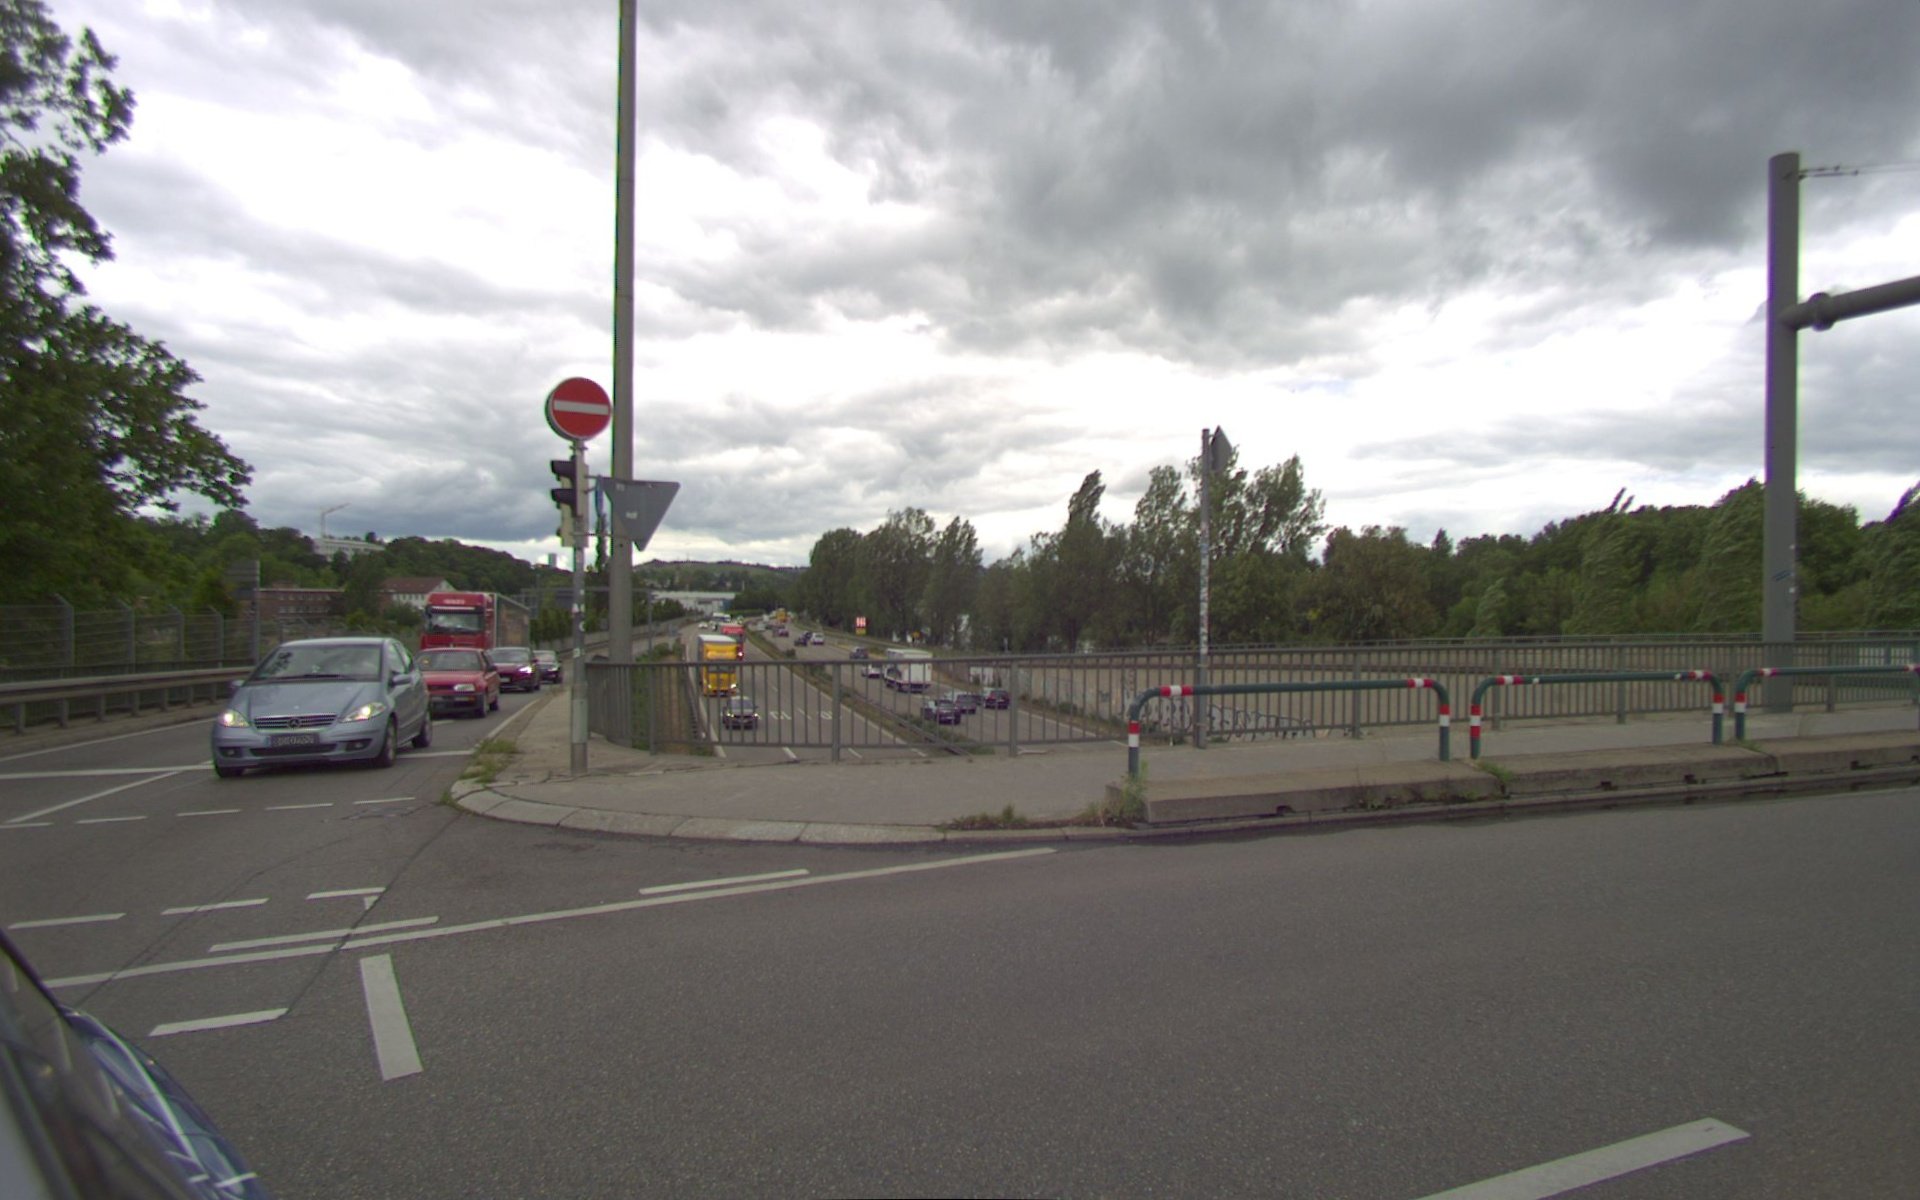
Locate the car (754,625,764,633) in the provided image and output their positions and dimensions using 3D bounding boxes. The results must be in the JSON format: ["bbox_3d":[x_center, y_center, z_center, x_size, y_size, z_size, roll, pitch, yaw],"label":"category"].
[{"bbox_3d":[-46.821,6.718,235.869,1.966,1.730,3.649,2,-2,-14],"label":"car"}]

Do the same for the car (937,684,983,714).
[{"bbox_3d":[-0.046,7.027,72.126,2.102,1.730,4.438,2,0,-17],"label":"car"}]

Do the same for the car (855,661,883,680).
[{"bbox_3d":[-9.089,6.928,100.335,1.966,1.630,4.341,2,-2,-15],"label":"car"}]

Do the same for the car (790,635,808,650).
[{"bbox_3d":[-25.432,6.636,159.725,2.188,2.028,4.655,2,1,-15],"label":"car"}]

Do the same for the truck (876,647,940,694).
[{"bbox_3d":[-4.602,5.975,87.395,3.534,3.482,8.264,3,-1,-16],"label":"truck"}]

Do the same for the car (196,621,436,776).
[{"bbox_3d":[-7.916,1.129,12.822,1.718,1.616,3.693,0,-2,-18],"label":"car"}]

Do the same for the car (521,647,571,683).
[{"bbox_3d":[-18.314,2.851,44.903,1.668,1.431,4.481,0,-2,-17],"label":"car"}]

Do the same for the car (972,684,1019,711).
[{"bbox_3d":[2.613,7.275,75.826,2.102,1.577,4.438,2,0,-17],"label":"car"}]

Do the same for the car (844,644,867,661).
[{"bbox_3d":[-13.193,6.563,127.331,1.965,1.630,4.344,2,2,-19],"label":"car"}]

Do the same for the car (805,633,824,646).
[{"bbox_3d":[-24.035,6.510,167.366,2.555,2.029,4.654,2,-1,-15],"label":"car"}]

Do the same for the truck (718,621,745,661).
[{"bbox_3d":[-28.048,4.911,123.822,2.842,4.389,13.295,1,0,-14],"label":"truck"}]

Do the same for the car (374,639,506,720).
[{"bbox_3d":[-10.666,1.579,21.023,1.718,1.474,3.966,0,-2,-16],"label":"car"}]

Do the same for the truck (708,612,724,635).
[{"bbox_3d":[-56.234,5.299,233.076,3.322,4.991,13.976,0,0,-14],"label":"truck"}]

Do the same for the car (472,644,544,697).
[{"bbox_3d":[-15.024,2.294,33.843,1.668,1.431,4.481,0,0,-17],"label":"car"}]

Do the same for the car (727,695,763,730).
[{"bbox_3d":[-12.789,6.634,59.953,1.848,1.711,3.851,1,-1,-15],"label":"car"}]

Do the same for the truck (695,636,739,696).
[{"bbox_3d":[-19.576,5.144,81.037,2.853,4.215,10.054,3,-1,-16],"label":"truck"}]

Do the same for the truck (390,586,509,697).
[{"bbox_3d":[-21.975,1.804,44.045,3.608,4.354,7.257,0,-3,-18],"label":"truck"}]

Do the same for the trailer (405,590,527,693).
[{"bbox_3d":[-23.896,2.060,49.850,3.608,4.354,13.823,0,-3,-19],"label":"trailer"}]

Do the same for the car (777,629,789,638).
[{"bbox_3d":[-34.879,6.573,199.484,1.966,1.730,3.649,2,-2,-14],"label":"car"}]

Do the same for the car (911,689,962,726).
[{"bbox_3d":[-1.581,6.924,65.566,2.298,1.730,4.745,-2,1,-14],"label":"car"}]

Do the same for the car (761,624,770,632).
[{"bbox_3d":[-48.623,6.983,252.832,1.966,1.730,3.649,2,-2,-14],"label":"car"}]

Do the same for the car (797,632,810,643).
[{"bbox_3d":[-28.586,6.865,185.045,1.966,1.782,3.492,2,-2,-14],"label":"car"}]
